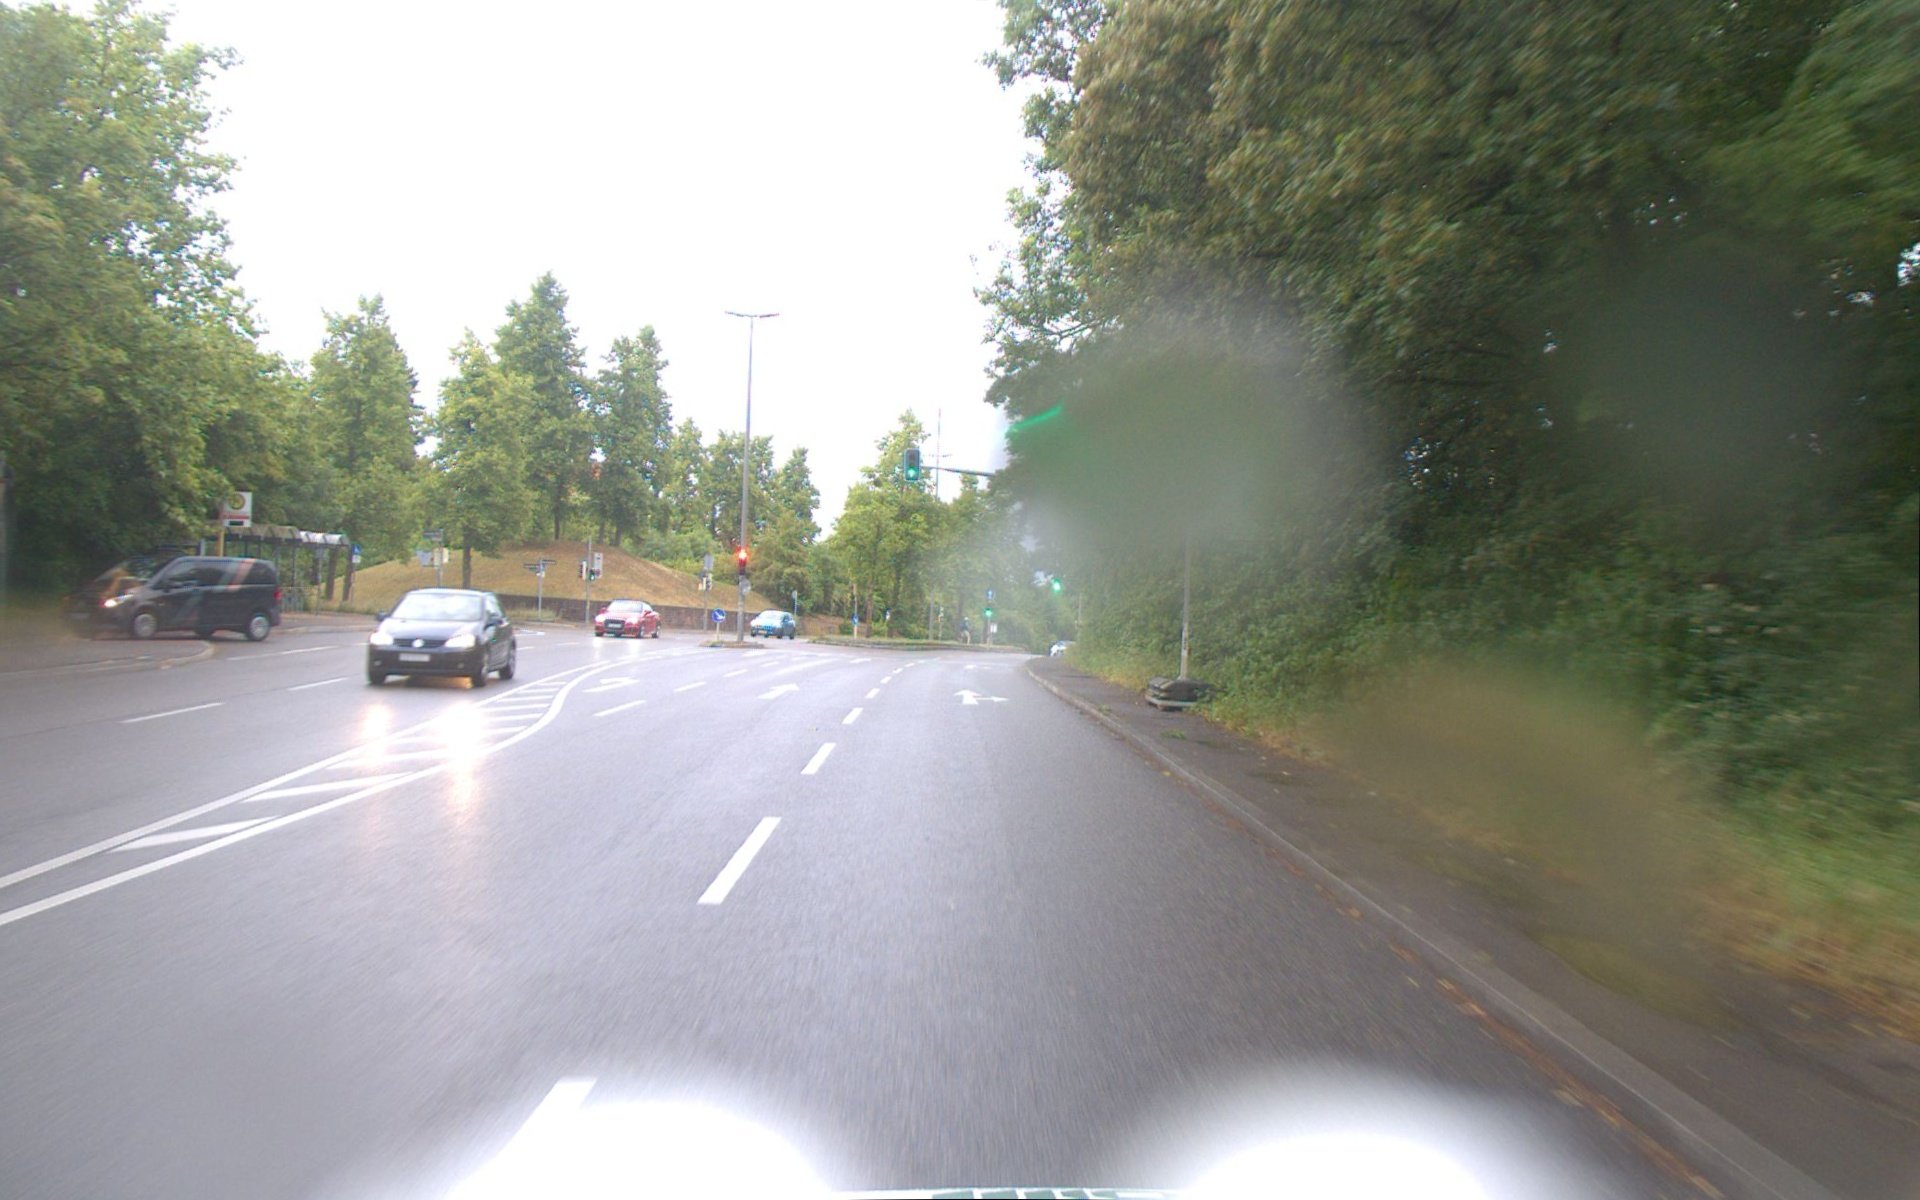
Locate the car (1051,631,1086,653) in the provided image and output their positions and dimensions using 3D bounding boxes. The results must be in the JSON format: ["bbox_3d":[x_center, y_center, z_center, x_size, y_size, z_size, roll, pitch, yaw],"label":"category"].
[{"bbox_3d":[9.662,3.757,147.148,1.904,1.664,5.006,3,-2,18],"label":"car"}]

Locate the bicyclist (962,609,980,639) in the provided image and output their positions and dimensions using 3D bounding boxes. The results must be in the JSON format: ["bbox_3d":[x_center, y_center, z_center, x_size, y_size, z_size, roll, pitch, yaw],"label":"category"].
[{"bbox_3d":[0.679,1.483,100.670,0.795,1.783,0.714,6,-6,-43],"label":"bicyclist"}]

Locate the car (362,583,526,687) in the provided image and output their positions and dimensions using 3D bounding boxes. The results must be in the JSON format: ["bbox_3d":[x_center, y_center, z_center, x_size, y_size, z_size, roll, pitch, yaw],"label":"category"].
[{"bbox_3d":[-8.052,0.497,26.148,1.668,1.452,4.073,2,0,-6],"label":"car"}]

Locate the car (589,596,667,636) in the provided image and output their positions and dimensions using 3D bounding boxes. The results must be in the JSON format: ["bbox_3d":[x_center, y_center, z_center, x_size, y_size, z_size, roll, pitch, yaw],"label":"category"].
[{"bbox_3d":[-12.575,0.569,62.929,1.836,1.398,4.386,2,0,3],"label":"car"}]

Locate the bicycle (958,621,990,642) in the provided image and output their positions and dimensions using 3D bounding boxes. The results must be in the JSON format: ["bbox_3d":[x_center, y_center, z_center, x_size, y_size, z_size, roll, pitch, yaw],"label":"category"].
[{"bbox_3d":[0.839,1.912,100.762,2.122,1.163,0.545,5,-2,-43],"label":"bicycle"}]

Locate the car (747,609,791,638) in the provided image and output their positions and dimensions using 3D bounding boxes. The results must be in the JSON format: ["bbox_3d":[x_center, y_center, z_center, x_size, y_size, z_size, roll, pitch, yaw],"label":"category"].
[{"bbox_3d":[-10.349,1.247,89.874,1.953,1.516,3.936,0,0,-1],"label":"car"}]

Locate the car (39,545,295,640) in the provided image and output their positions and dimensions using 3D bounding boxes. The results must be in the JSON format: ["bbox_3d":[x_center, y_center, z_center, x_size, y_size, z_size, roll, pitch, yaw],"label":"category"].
[{"bbox_3d":[-17.757,-0.191,37.363,2.060,1.980,5.159,1,1,23],"label":"car"}]
